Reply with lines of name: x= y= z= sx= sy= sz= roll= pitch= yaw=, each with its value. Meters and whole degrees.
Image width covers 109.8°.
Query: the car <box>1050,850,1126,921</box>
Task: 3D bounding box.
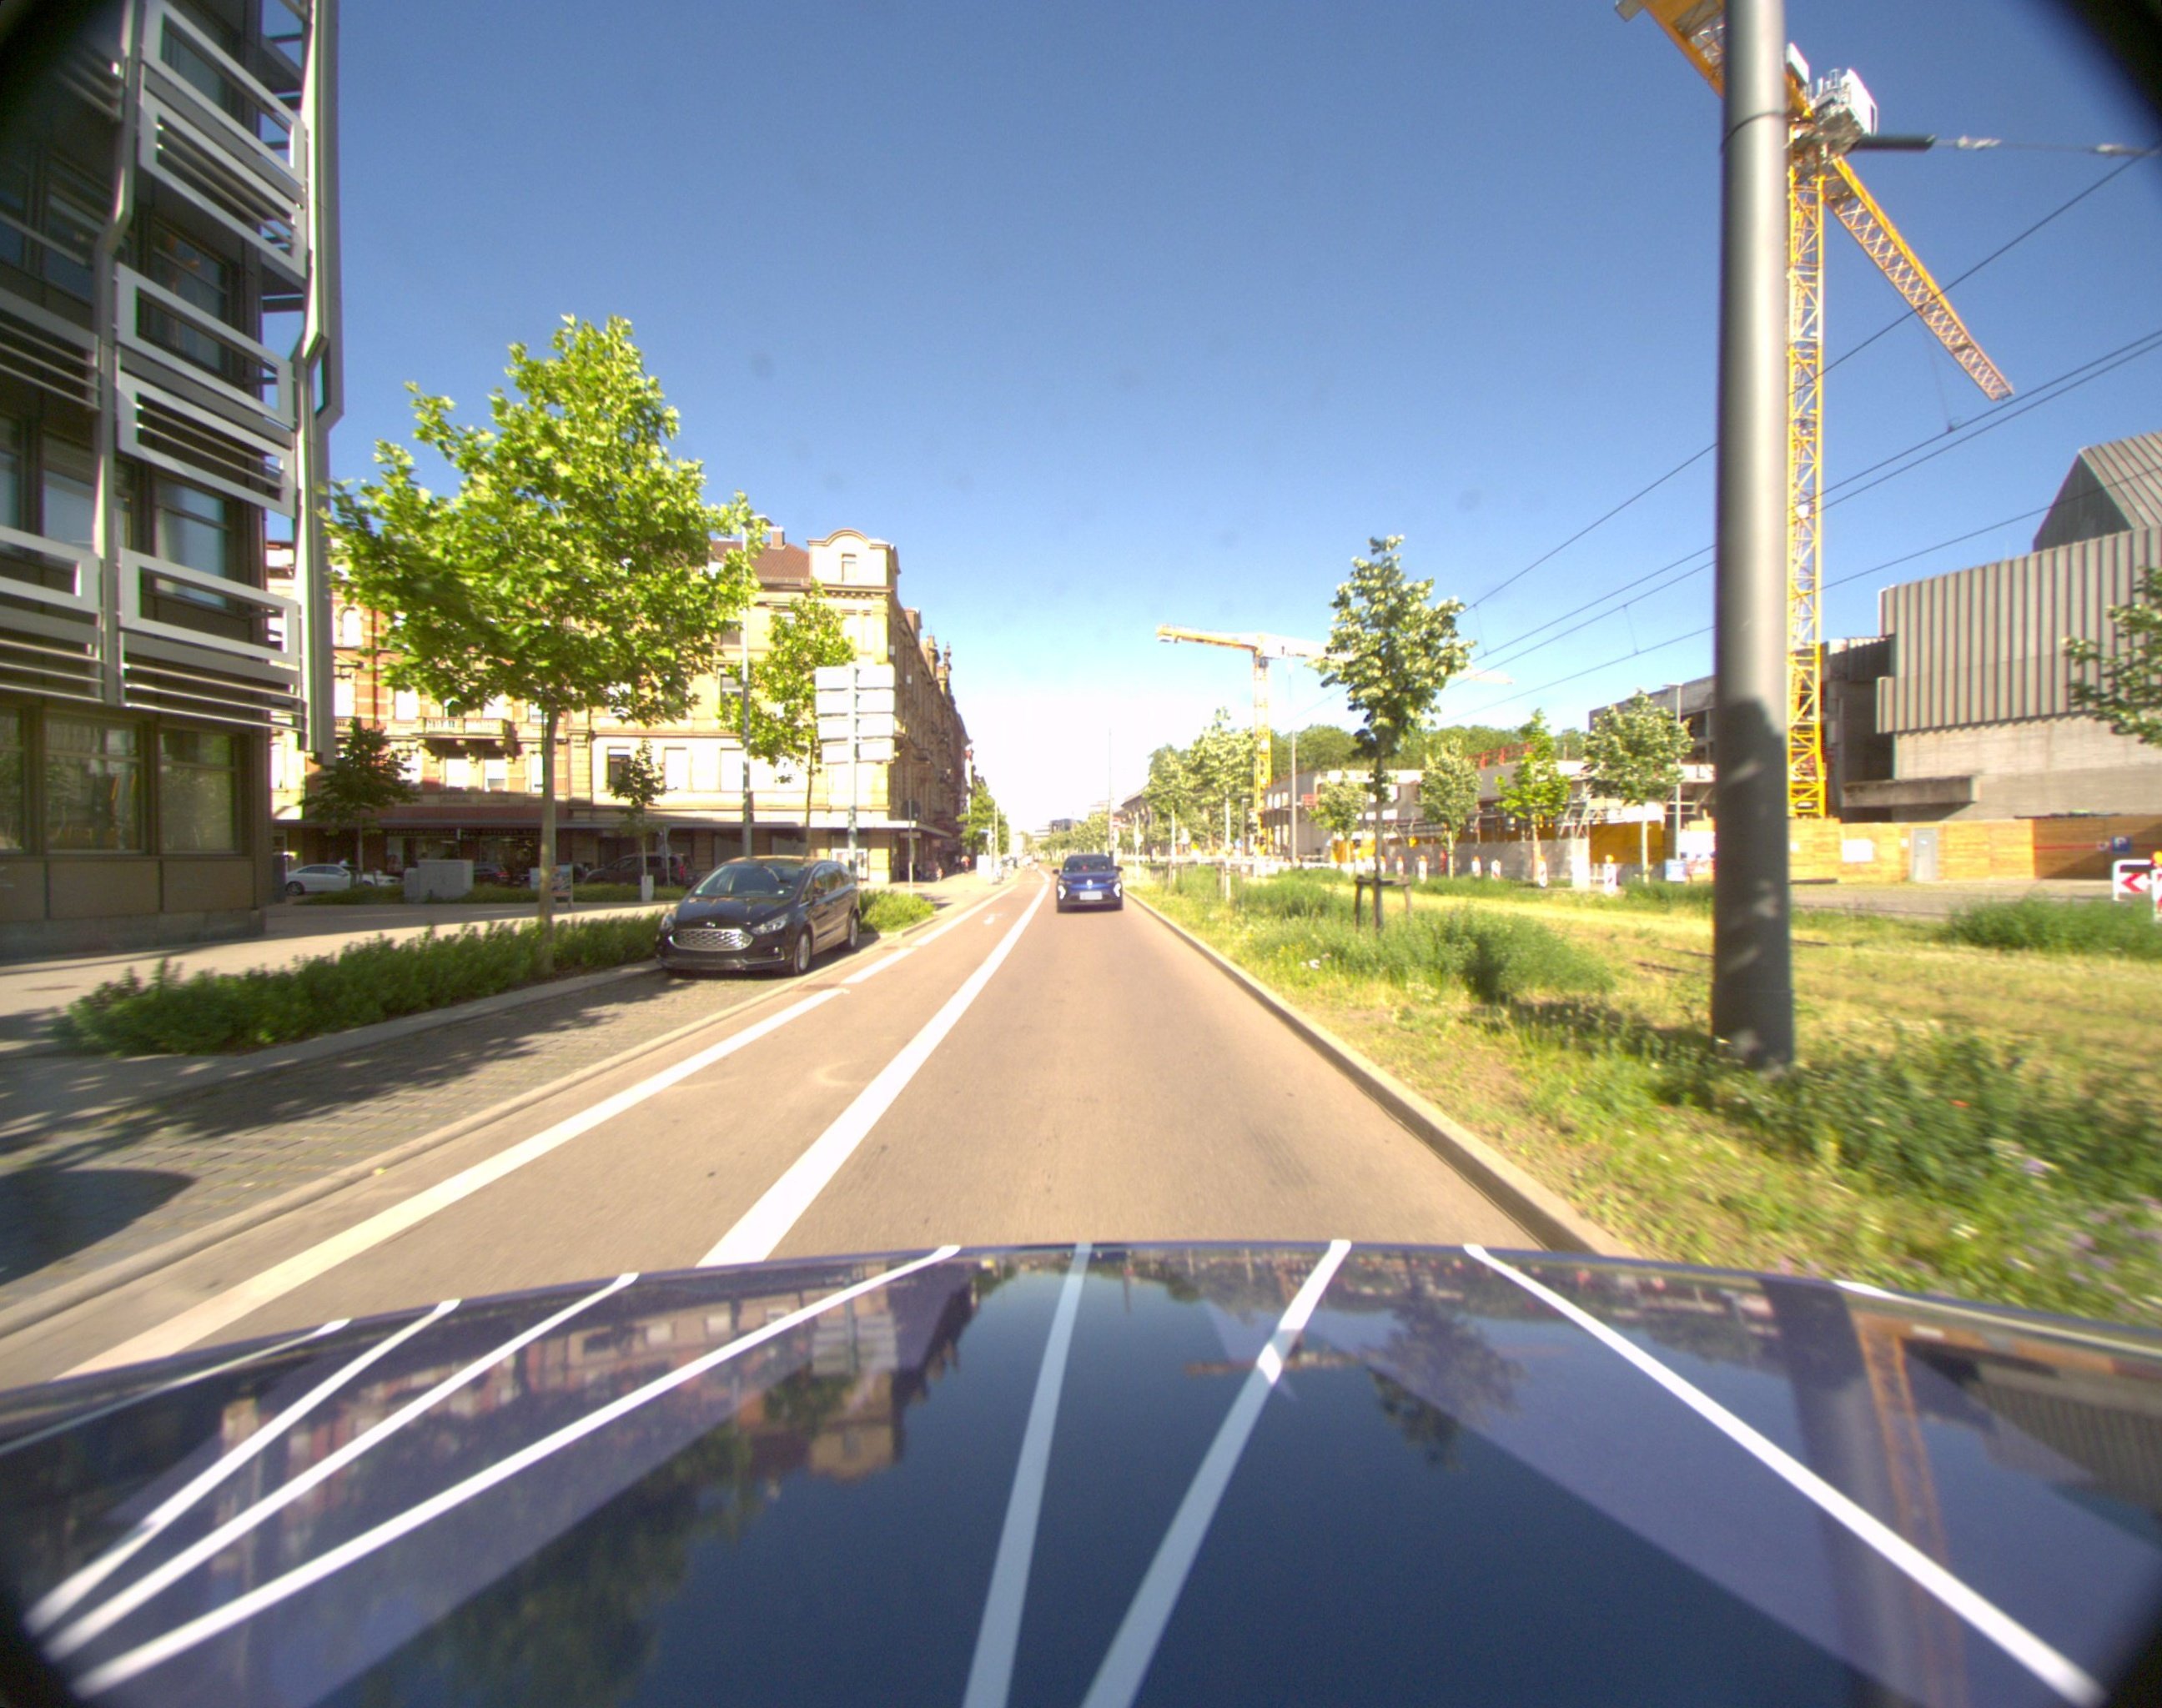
car: x=0.288 y=0.756 z=20.401 sx=1.748 sy=1.613 sz=4.153 roll=-4 pitch=0 yaw=3

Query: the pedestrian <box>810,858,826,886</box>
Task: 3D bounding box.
pedestrian: x=-13.603 y=0.945 z=39.352 sx=0.683 sy=1.442 sz=0.543 roll=-1 pitch=1 yaw=-9

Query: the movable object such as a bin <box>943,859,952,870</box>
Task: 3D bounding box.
movable object such as a bin: x=-12.085 y=0.943 z=68.742 sx=0.692 sy=0.969 sz=0.587 roll=-1 pitch=1 yaw=1

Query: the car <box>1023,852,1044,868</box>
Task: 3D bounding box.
car: x=-5.757 y=0.712 z=91.990 sx=1.821 sy=1.783 sz=4.001 roll=-3 pitch=1 yaw=5

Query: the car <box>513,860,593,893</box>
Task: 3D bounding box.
car: x=-25.009 y=1.046 z=36.082 sx=2.792 sy=1.486 sz=1.304 roll=-1 pitch=1 yaw=-12

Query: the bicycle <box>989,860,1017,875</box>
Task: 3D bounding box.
bicycle: x=-5.947 y=1.051 z=58.130 sx=2.055 sy=1.113 sz=0.602 roll=1 pitch=1 yaw=-4

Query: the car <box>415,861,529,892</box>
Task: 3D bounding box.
car: x=-28.359 y=1.041 z=35.496 sx=3.825 sy=1.346 sz=1.649 roll=-1 pitch=1 yaw=-12

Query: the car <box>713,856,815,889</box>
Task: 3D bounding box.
car: x=-15.699 y=0.900 z=37.845 sx=4.409 sy=1.535 sz=1.851 roll=-1 pitch=1 yaw=-11

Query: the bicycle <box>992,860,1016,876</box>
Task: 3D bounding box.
bicycle: x=-6.181 y=1.107 z=61.014 sx=1.870 sy=1.244 sz=0.691 roll=2 pitch=1 yaw=-5

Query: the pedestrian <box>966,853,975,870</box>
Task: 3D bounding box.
pedestrian: x=-10.001 y=0.671 z=68.879 sx=0.753 sy=1.575 sz=0.808 roll=1 pitch=0 yaw=-3

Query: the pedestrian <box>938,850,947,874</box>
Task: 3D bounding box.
pedestrian: x=-10.023 y=0.576 z=55.047 sx=0.512 sy=1.791 sz=0.501 roll=-1 pitch=1 yaw=4

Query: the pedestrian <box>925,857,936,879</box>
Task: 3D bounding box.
pedestrian: x=-9.787 y=0.918 z=49.364 sx=0.574 sy=1.386 sz=0.648 roll=1 pitch=1 yaw=-5

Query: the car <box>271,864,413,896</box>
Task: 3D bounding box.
car: x=-33.716 y=1.160 z=34.785 sx=4.441 sy=1.346 sz=1.649 roll=-1 pitch=1 yaw=-12

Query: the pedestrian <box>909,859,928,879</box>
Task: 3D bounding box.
pedestrian: x=-10.062 y=0.925 z=47.109 sx=1.075 sy=1.211 sz=0.702 roll=1 pitch=1 yaw=-4

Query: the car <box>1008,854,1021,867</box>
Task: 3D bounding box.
car: x=-9.516 y=0.908 z=108.599 sx=1.670 sy=1.574 sz=3.747 roll=-3 pitch=1 yaw=-3

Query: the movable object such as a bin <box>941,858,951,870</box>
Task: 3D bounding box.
movable object such as a bin: x=-12.093 y=0.880 z=68.082 sx=0.692 sy=1.007 sz=0.587 roll=1 pitch=1 yaw=1

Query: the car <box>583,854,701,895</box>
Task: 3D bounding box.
car: x=-19.510 y=0.876 z=33.936 sx=4.168 sy=1.742 sz=1.816 roll=-1 pitch=1 yaw=-11

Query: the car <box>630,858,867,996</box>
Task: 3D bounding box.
car: x=-4.768 y=0.925 z=11.707 sx=1.752 sy=1.649 sz=4.469 roll=-1 pitch=0 yaw=-1

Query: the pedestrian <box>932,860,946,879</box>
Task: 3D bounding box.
pedestrian: x=-9.006 y=0.974 z=48.309 sx=0.718 sy=1.211 sz=0.647 roll=1 pitch=1 yaw=2

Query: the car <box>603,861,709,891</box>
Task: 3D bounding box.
car: x=-20.568 y=1.049 z=36.938 sx=4.193 sy=1.386 sz=1.556 roll=-1 pitch=-1 yaw=-12
